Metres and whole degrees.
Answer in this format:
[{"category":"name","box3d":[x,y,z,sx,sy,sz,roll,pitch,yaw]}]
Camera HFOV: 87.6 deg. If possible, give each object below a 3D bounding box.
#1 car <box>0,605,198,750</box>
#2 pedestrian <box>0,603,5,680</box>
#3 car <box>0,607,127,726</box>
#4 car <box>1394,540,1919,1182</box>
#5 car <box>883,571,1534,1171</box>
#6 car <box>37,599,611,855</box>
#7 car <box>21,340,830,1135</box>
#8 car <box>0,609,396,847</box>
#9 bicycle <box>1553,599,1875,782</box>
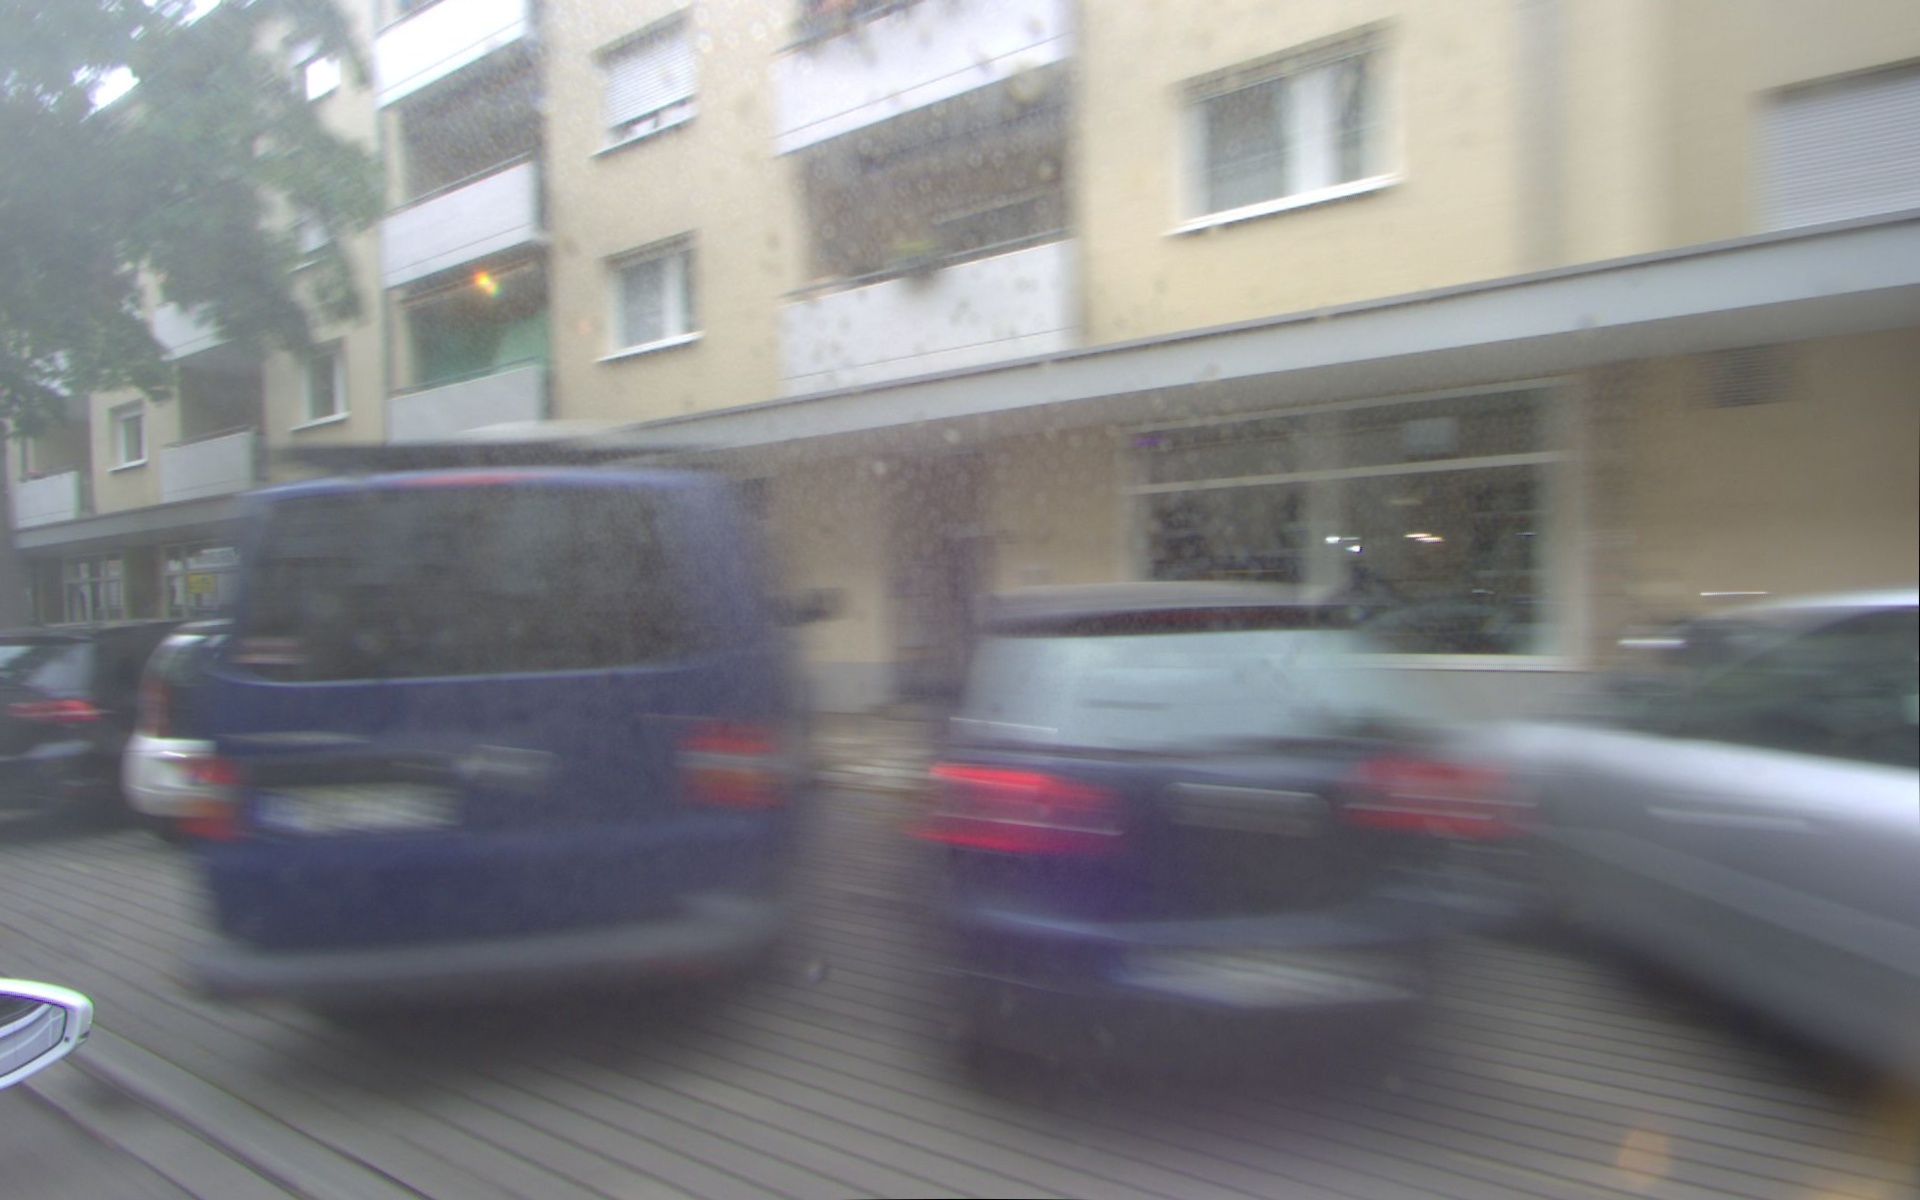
[{"category":"car","box3d":[-11.265,0.896,11.708,1.817,1.517,3.367,-2,1,9]},{"category":"pedestrian","box3d":[-22.525,0.972,22.999,0.837,1.765,0.623,-1,2,32]},{"category":"car","box3d":[-13.805,0.959,13.143,1.937,1.521,4.225,-2,1,4]},{"category":"car","box3d":[2.951,0.551,2.755,1.691,1.437,3.814,-1,2,-3]},{"category":"car","box3d":[0.611,0.649,4.402,1.656,1.501,3.665,-1,2,-1]},{"category":"car","box3d":[-4.474,0.762,7.896,1.789,1.485,3.913,-1,0,5]},{"category":"car","box3d":[-1.778,0.307,5.230,2.027,2.227,4.702,-1,2,-6]},{"category":"car","box3d":[-6.618,0.841,8.336,1.817,1.461,4.112,-1,0,-6]},{"category":"bicycle","box3d":[5.022,0.582,6.792,1.678,1.105,0.483,-2,2,34]}]
